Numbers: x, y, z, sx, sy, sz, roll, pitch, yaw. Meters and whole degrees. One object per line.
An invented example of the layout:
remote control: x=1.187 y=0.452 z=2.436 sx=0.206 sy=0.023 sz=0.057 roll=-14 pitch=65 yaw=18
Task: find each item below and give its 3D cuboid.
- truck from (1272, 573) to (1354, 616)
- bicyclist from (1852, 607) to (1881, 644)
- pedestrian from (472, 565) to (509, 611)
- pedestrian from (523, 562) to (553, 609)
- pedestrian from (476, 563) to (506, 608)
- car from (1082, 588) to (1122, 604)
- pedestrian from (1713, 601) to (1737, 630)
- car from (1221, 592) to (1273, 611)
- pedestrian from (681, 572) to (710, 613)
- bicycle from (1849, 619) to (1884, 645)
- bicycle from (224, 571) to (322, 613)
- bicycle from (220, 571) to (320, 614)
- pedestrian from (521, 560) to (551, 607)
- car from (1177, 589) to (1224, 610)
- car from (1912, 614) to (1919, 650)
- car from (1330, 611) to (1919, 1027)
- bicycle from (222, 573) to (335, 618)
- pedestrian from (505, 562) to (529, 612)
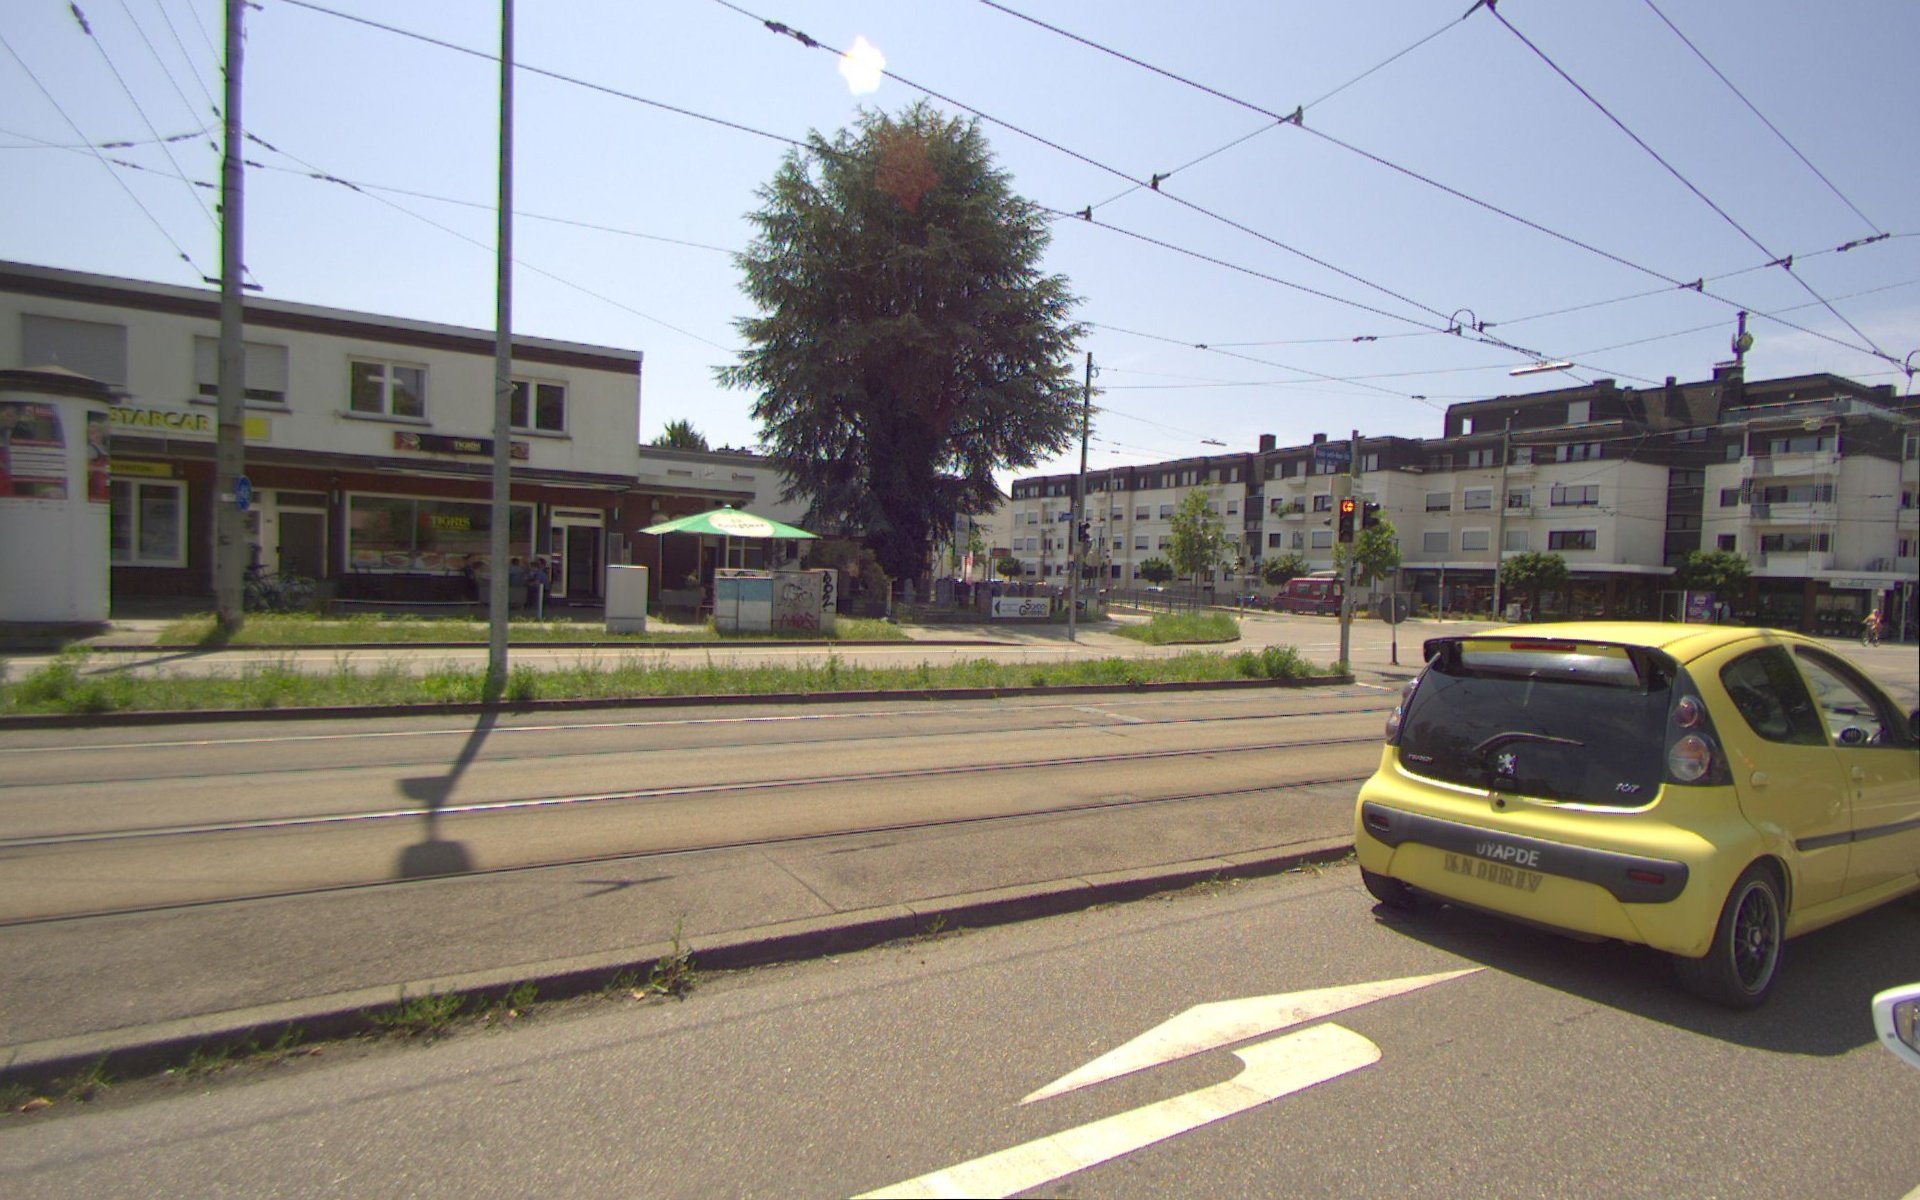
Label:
truck: x=23.789 y=-0.398 z=67.945 sx=2.161 sy=2.734 sz=5.002 roll=1 pitch=1 yaw=-29
bicyclist: x=44.192 y=1.238 z=48.969 sx=1.124 sy=1.789 sz=0.691 roll=0 pitch=2 yaw=-31
pedestrian: x=-12.153 y=-0.317 z=25.999 sx=0.801 sy=1.142 sz=0.561 roll=1 pitch=2 yaw=-30
pedestrian: x=-11.178 y=-0.387 z=26.603 sx=0.666 sy=1.215 sz=0.514 roll=1 pitch=2 yaw=-30
pedestrian: x=-12.454 y=-0.380 z=26.683 sx=0.666 sy=1.179 sz=0.514 roll=1 pitch=2 yaw=-30
car: x=12.346 y=-0.391 z=87.332 sx=1.571 sy=1.257 sz=3.553 roll=1 pitch=1 yaw=-29
pedestrian: x=45.865 y=0.925 z=60.226 sx=0.791 sy=1.719 sz=0.702 roll=2 pitch=1 yaw=3
car: x=20.941 y=0.124 z=73.364 sx=1.571 sy=1.235 sz=3.553 roll=1 pitch=1 yaw=-29
pedestrian: x=-7.504 y=-0.222 z=28.535 sx=0.666 sy=1.142 sz=0.514 roll=1 pitch=2 yaw=-30
bicycle: x=44.252 y=1.550 z=49.030 sx=1.909 sy=1.164 sz=0.691 roll=0 pitch=2 yaw=-32
bicycle: x=-15.486 y=-0.167 z=22.683 sx=1.767 sy=0.859 sz=0.525 roll=2 pitch=4 yaw=-31
bicycle: x=-15.209 y=-0.158 z=22.193 sx=1.767 sy=0.859 sz=0.525 roll=2 pitch=4 yaw=-31
pedestrian: x=-11.478 y=-0.447 z=27.181 sx=0.666 sy=1.225 sz=0.514 roll=1 pitch=2 yaw=-30
car: x=18.462 y=-0.030 z=77.232 sx=1.571 sy=1.452 sz=3.553 roll=1 pitch=1 yaw=-29
car: x=44.196 y=1.482 z=44.383 sx=4.091 sy=1.573 sz=1.984 roll=1 pitch=1 yaw=-30
car: x=3.754 y=0.821 z=5.138 sx=3.614 sy=1.440 sz=1.607 roll=2 pitch=-1 yaw=-31
bicycle: x=-14.382 y=-0.092 z=21.261 sx=1.936 sy=0.859 sz=0.599 roll=2 pitch=4 yaw=-31
pedestrian: x=-11.345 y=-0.342 z=25.713 sx=0.486 sy=1.255 sz=0.572 roll=1 pitch=2 yaw=-31
